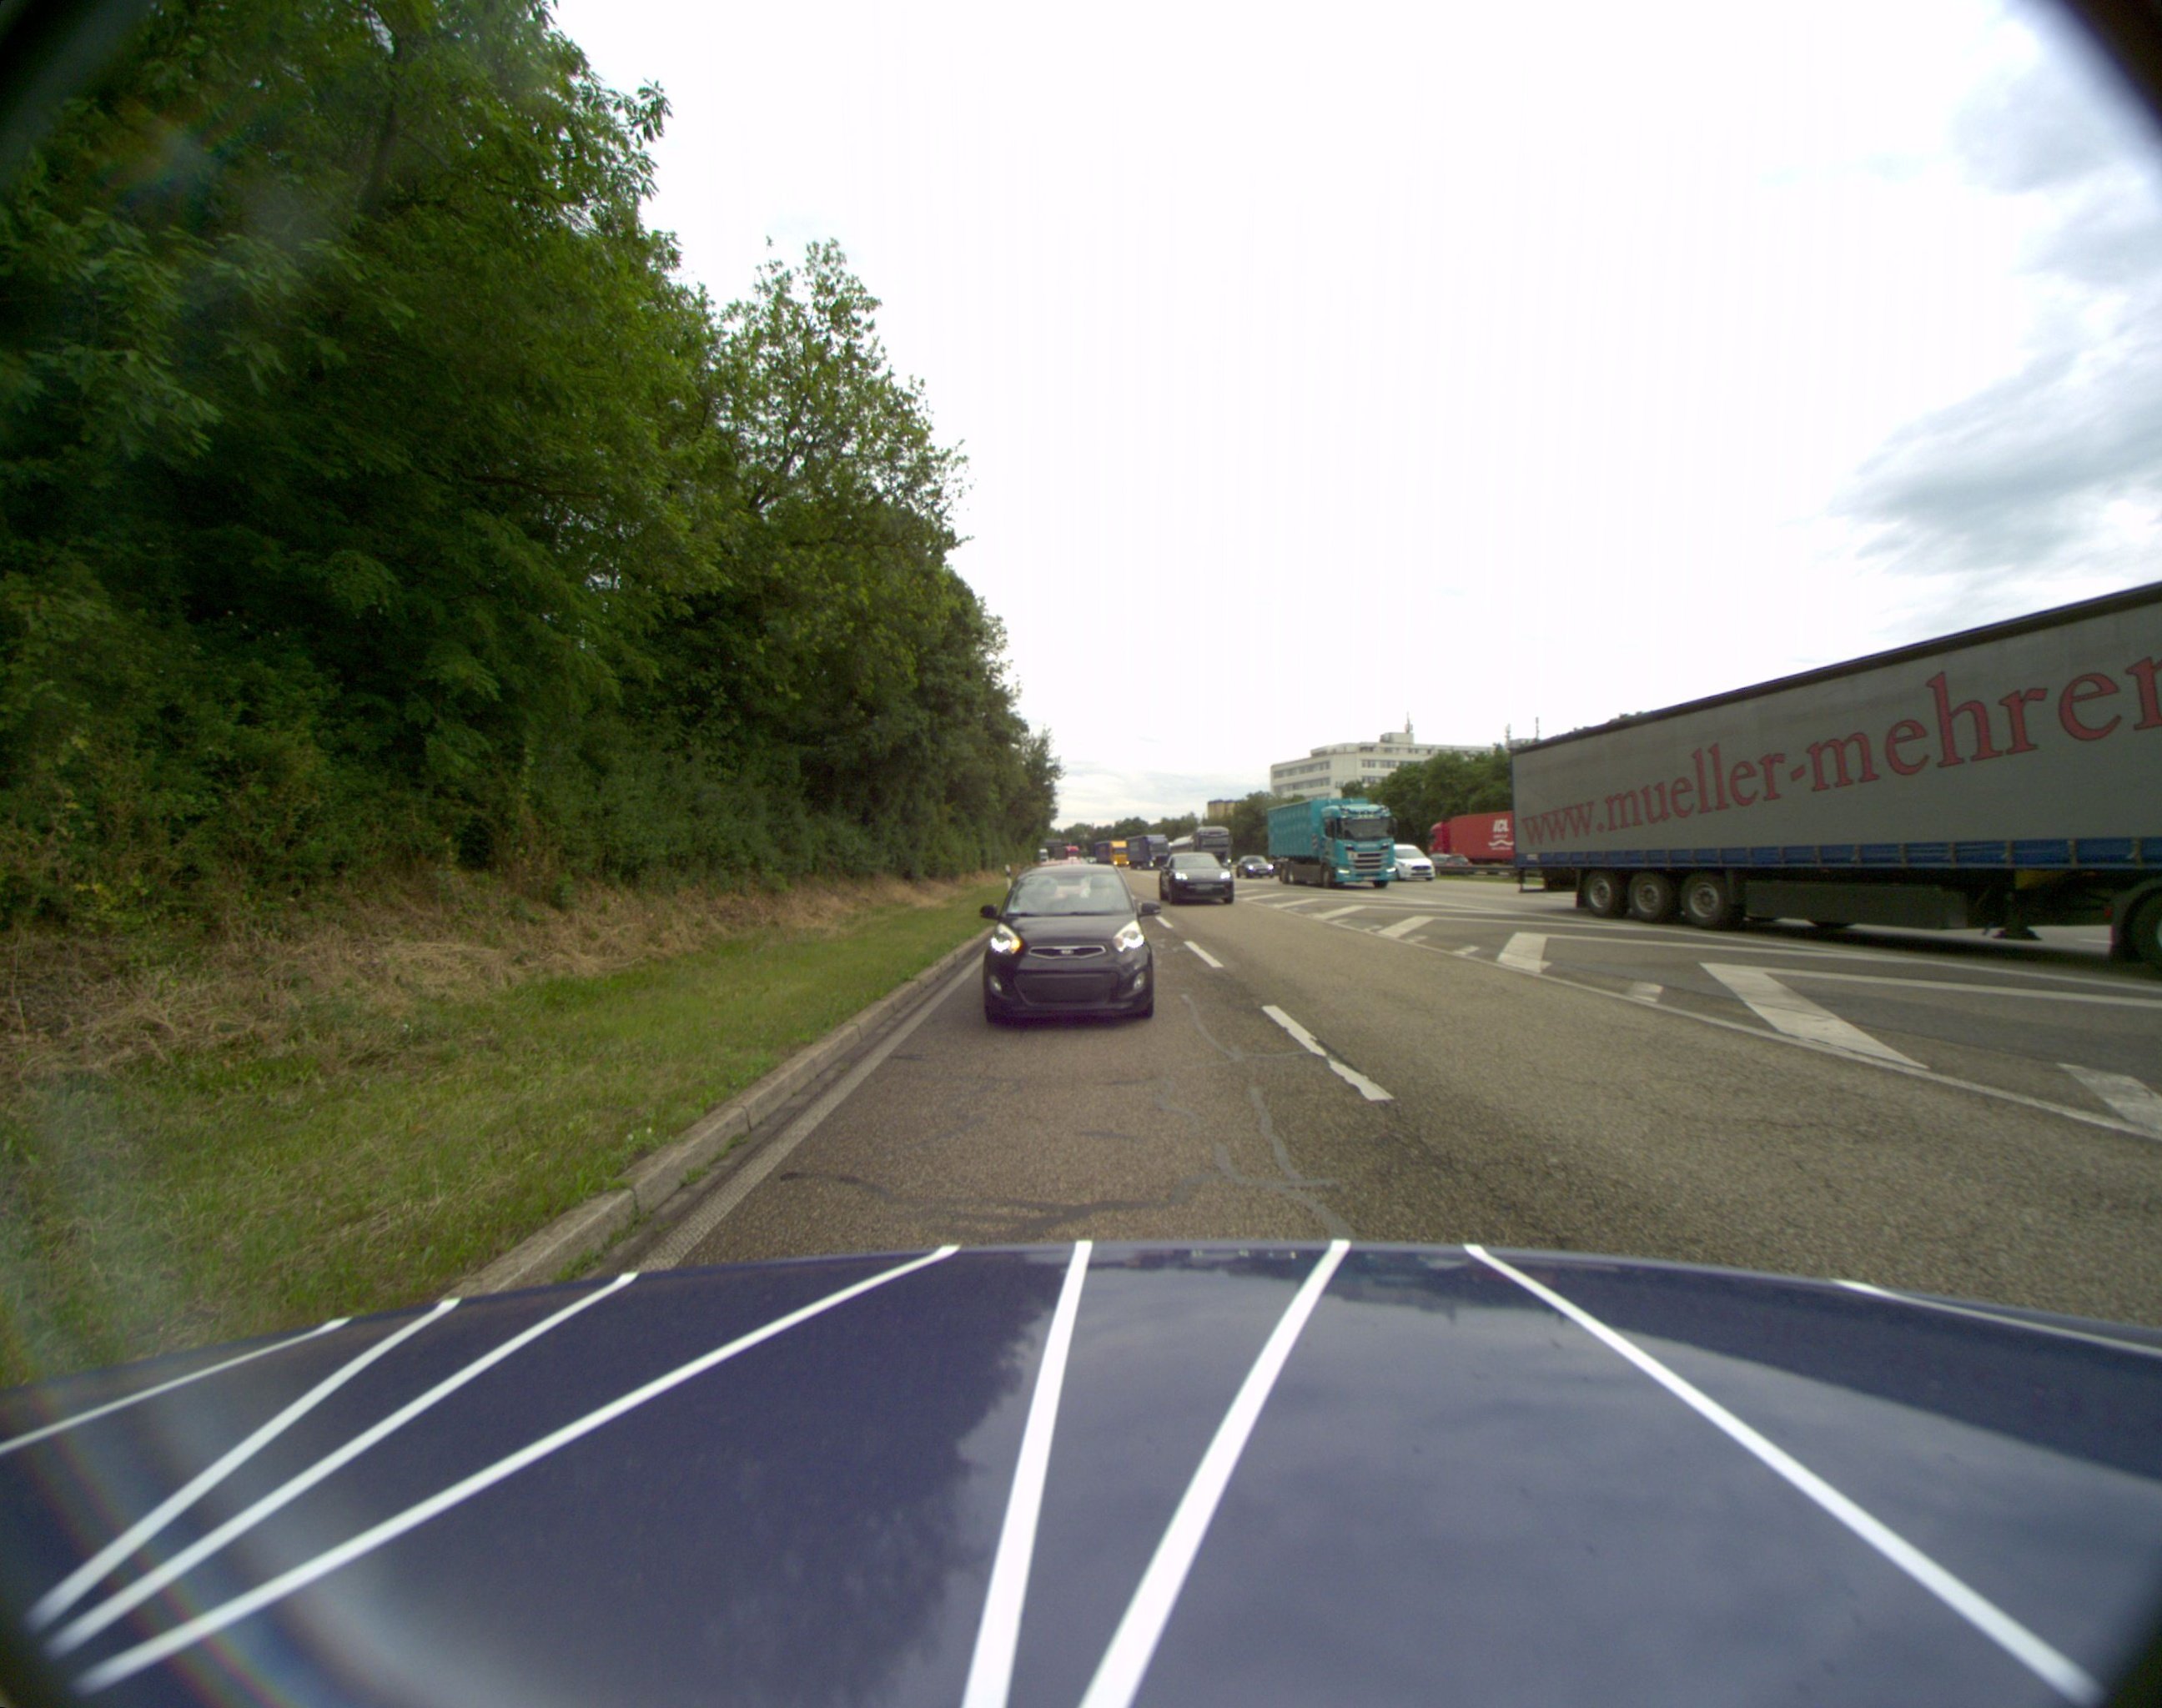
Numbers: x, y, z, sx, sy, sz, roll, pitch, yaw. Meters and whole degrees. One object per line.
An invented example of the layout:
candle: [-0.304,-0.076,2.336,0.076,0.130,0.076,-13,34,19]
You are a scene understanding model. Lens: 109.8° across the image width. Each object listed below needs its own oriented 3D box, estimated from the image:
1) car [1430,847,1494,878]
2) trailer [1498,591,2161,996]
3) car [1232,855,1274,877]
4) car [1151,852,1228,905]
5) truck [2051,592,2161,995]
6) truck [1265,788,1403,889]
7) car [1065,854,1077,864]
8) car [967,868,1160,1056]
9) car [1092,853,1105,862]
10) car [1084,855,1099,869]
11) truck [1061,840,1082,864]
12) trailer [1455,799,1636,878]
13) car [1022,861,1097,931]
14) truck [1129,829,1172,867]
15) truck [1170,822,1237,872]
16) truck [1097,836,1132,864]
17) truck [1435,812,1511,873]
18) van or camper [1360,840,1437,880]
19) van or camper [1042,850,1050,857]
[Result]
car: [22.575,0.466,45.137,1.778,1.709,4.000,-1,0,0]
trailer: [11.894,-0.612,12.201,2.680,3.951,13.919,-1,0,0]
car: [11.049,0.755,49.028,1.757,1.314,4.000,-1,0,-1]
car: [3.680,0.761,26.593,1.906,1.653,4.751,-1,0,-2]
truck: [11.903,-0.613,5.300,2.675,3.938,5.927,-1,0,0]
truck: [11.345,-0.629,35.447,2.700,3.977,10.123,-1,0,-2]
car: [-1.651,0.819,128.909,1.615,1.657,3.143,-1,0,-8]
car: [-0.121,0.945,8.387,1.584,1.485,4.000,-2,0,1]
car: [3.220,0.690,143.205,1.700,1.704,3.864,-1,0,-9]
car: [1.168,0.866,84.756,1.602,1.543,3.302,-1,0,-1]
truck: [-2.247,-0.436,168.906,2.848,5.070,14.111,-1,0,-8]
trailer: [27.310,-0.807,45.953,2.771,4.040,13.352,-1,0,0]
car: [-0.492,0.930,18.486,1.631,1.492,3.564,-1,0,0]
truck: [8.228,-0.633,91.821,2.814,4.205,14.001,-1,0,-4]
truck: [10.678,-0.560,67.803,3.328,3.902,13.142,-1,0,-2]
truck: [5.246,-0.607,121.862,2.848,4.206,14.111,-1,0,-8]
truck: [27.330,-0.775,53.219,2.770,4.041,4.907,-1,0,0]
van or camper: [15.965,0.302,38.482,1.720,1.881,4.590,-1,0,-3]
van or camper: [-9.386,-0.131,204.201,1.707,1.685,3.824,-1,0,-9]
